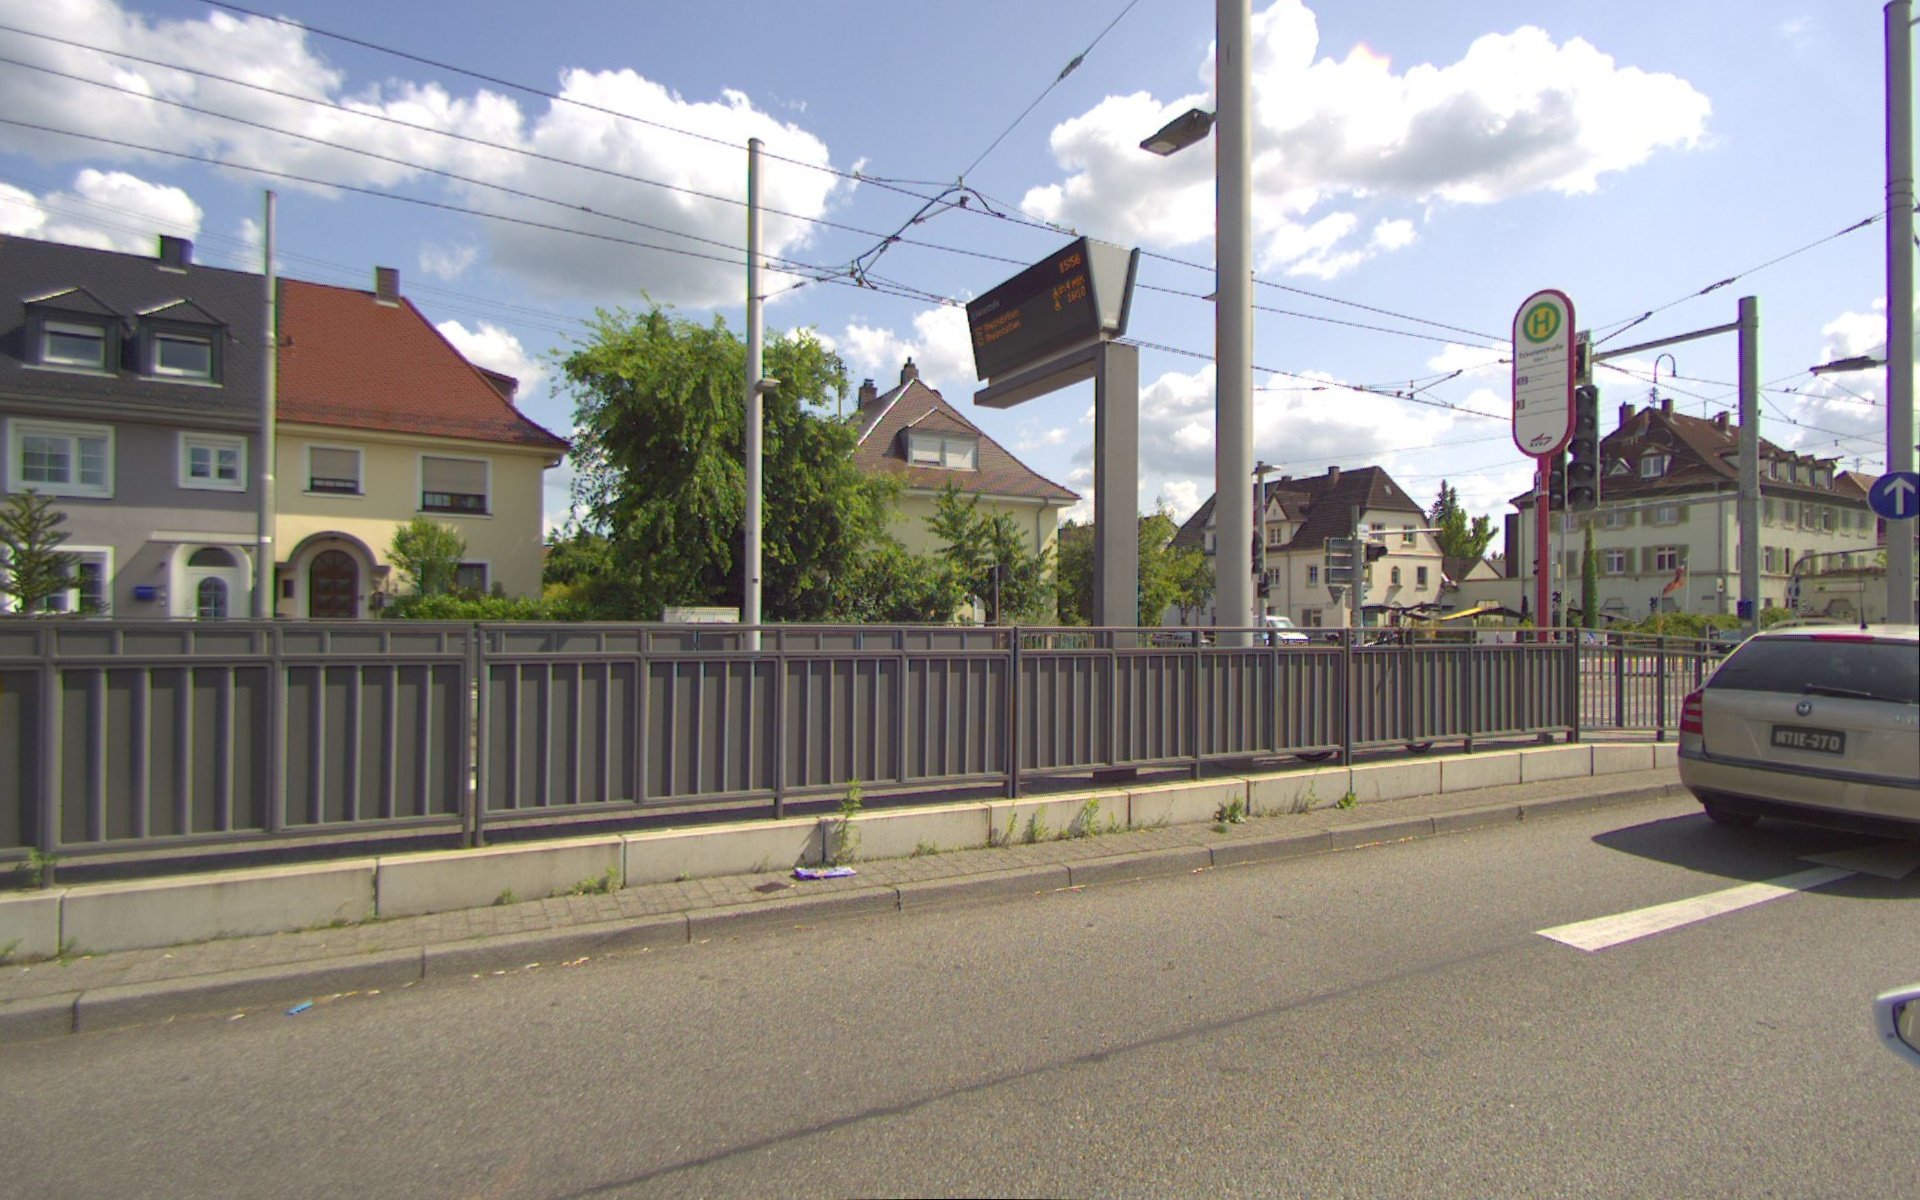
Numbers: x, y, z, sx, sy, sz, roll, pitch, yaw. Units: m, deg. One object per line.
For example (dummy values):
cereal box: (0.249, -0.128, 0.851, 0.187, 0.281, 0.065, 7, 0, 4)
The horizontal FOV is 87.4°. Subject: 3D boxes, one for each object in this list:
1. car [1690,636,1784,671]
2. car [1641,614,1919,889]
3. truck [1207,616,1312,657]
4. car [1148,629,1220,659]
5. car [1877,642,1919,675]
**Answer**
car: (33.493, 2.290, 43.255, 4.293, 1.369, 1.676, 2, 0, -30)
car: (6.753, 0.898, 6.987, 4.074, 1.468, 1.723, 2, 0, -30)
truck: (16.186, 1.940, 54.687, 1.668, 1.947, 6.163, 2, 0, -26)
car: (13.422, 2.609, 60.386, 1.974, 1.573, 4.149, 3, -1, -27)
car: (42.451, 2.588, 44.376, 4.128, 1.369, 1.676, 2, 0, -30)
